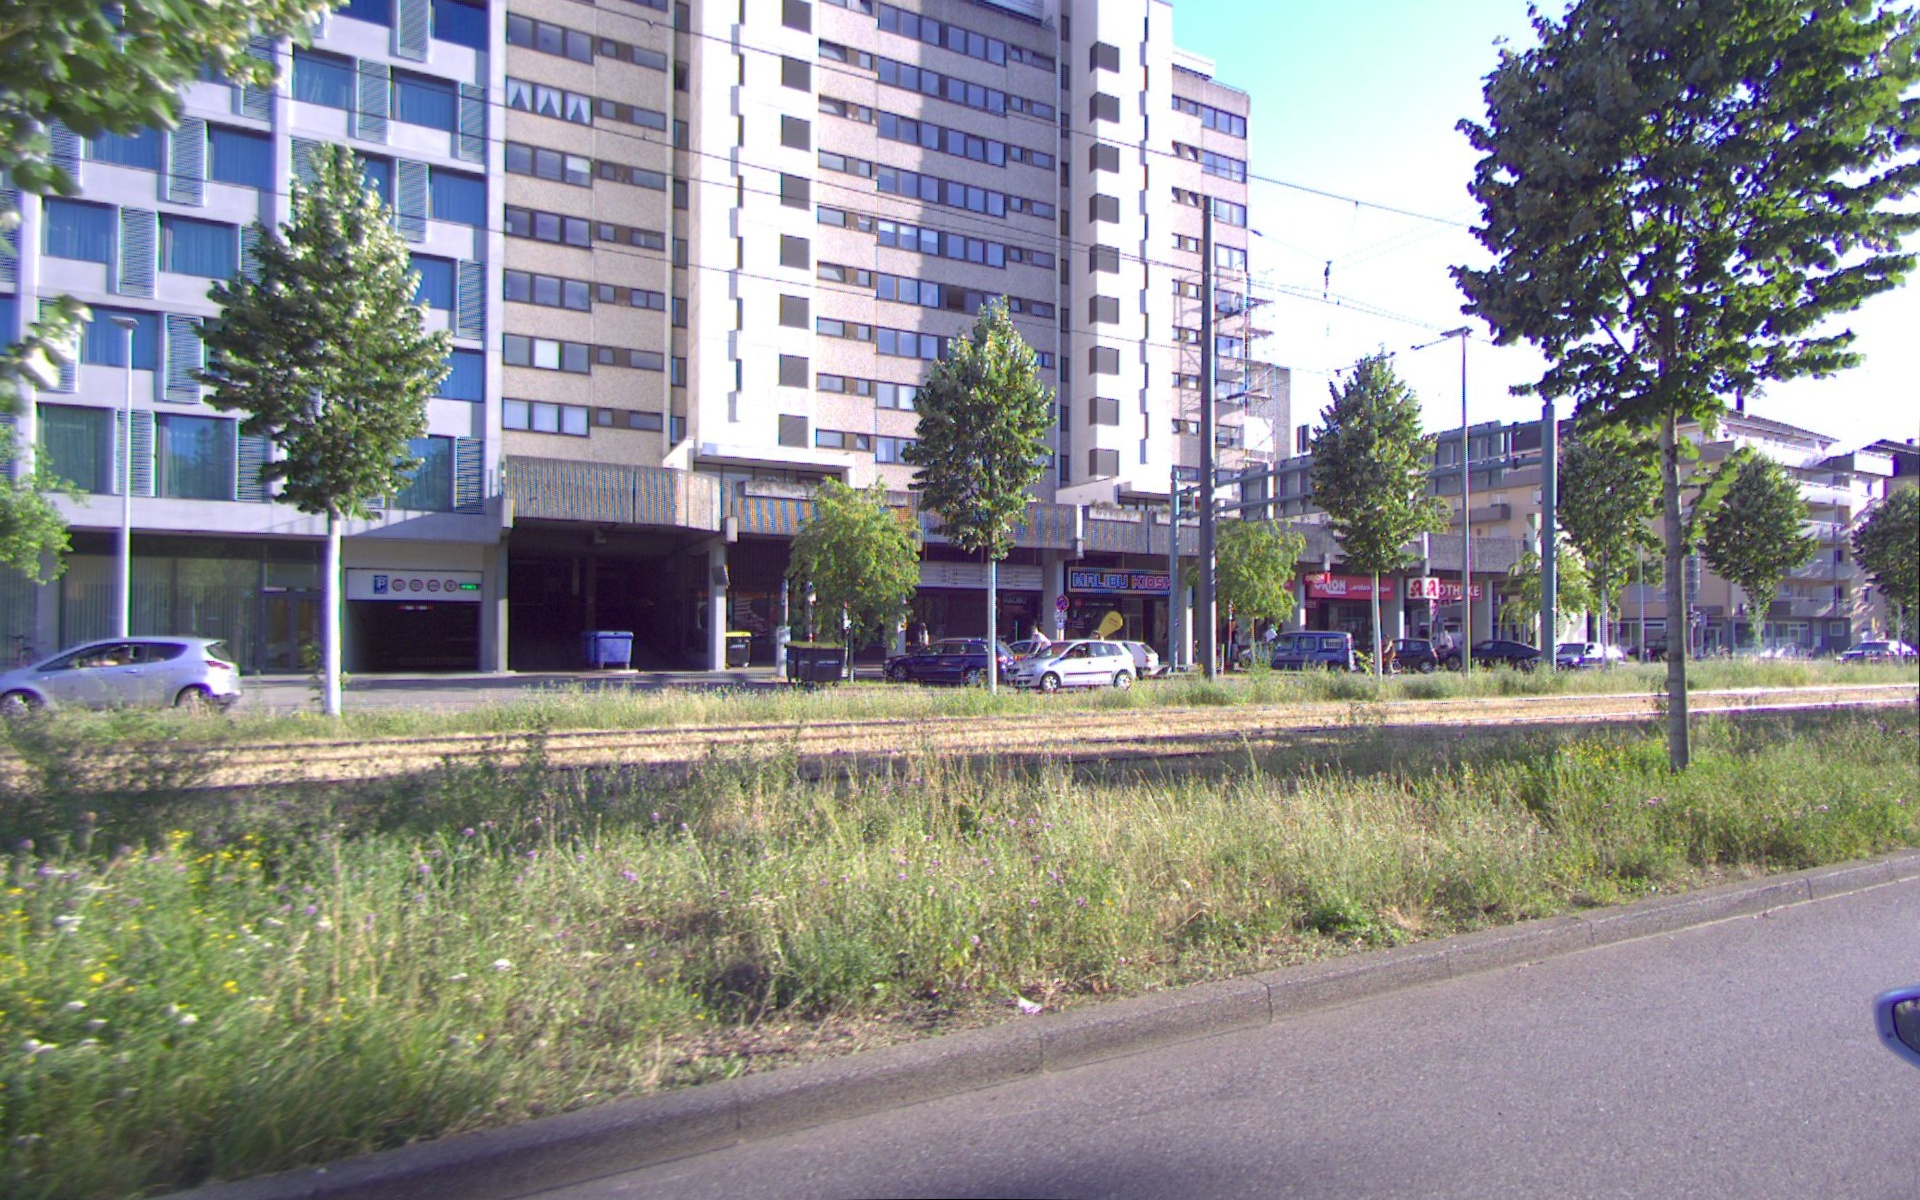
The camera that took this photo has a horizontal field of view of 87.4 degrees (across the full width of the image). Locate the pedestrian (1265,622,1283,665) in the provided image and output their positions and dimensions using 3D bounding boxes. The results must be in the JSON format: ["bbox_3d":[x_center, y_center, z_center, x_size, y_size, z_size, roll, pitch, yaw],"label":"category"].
[{"bbox_3d":[15.222,2.110,48.731,0.646,2.040,0.545,1,-2,-27],"label":"pedestrian"}]

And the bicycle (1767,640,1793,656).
[{"bbox_3d":[61.656,3.621,75.520,2.553,1.152,0.528,1,-1,-28],"label":"bicycle"}]

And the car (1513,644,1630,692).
[{"bbox_3d":[24.010,2.653,39.420,4.431,1.725,1.863,2,0,-27],"label":"car"}]

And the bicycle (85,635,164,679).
[{"bbox_3d":[-23.973,1.625,28.852,1.704,1.246,0.390,2,-2,-37],"label":"bicycle"}]

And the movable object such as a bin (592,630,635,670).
[{"bbox_3d":[-12.170,1.748,35.289,1.218,1.351,1.381,1,-2,-28],"label":"movable object such as a bin"}]

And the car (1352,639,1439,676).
[{"bbox_3d":[19.316,2.549,44.712,3.398,1.421,1.621,2,0,20],"label":"car"}]

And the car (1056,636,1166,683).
[{"bbox_3d":[5.515,2.151,36.676,3.718,1.464,1.621,2,0,20],"label":"car"}]

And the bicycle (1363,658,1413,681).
[{"bbox_3d":[16.686,2.707,39.129,2.071,0.874,0.435,1,-2,-21],"label":"bicycle"}]

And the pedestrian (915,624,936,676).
[{"bbox_3d":[-1.348,1.958,39.595,0.646,2.040,0.545,1,-2,-27],"label":"pedestrian"}]

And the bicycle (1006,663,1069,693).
[{"bbox_3d":[2.438,2.423,31.381,2.077,0.874,0.434,1,-2,-29],"label":"bicycle"}]

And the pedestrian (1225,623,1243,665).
[{"bbox_3d":[13.399,2.127,49.180,0.646,2.040,0.545,1,-2,-27],"label":"pedestrian"}]

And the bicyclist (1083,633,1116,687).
[{"bbox_3d":[4.380,1.869,31.585,0.908,1.678,0.535,1,-2,-29],"label":"bicyclist"}]

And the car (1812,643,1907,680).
[{"bbox_3d":[43.038,2.909,48.051,4.579,1.609,1.863,2,0,-27],"label":"car"}]

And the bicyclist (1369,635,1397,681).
[{"bbox_3d":[16.429,2.238,38.981,0.908,1.768,0.555,1,-2,-29],"label":"bicyclist"}]

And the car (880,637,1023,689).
[{"bbox_3d":[-0.283,2.055,33.540,4.457,1.464,1.621,2,0,20],"label":"car"}]

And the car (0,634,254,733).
[{"bbox_3d":[-15.435,1.502,18.727,3.438,1.612,1.863,2,0,-27],"label":"car"}]

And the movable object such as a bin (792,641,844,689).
[{"bbox_3d":[-4.341,1.958,30.653,1.156,1.389,1.381,1,-2,-28],"label":"movable object such as a bin"}]

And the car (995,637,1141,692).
[{"bbox_3d":[3.044,1.781,28.208,3.829,1.396,1.603,2,0,-27],"label":"car"}]

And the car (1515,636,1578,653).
[{"bbox_3d":[46.618,3.529,79.888,1.974,1.321,3.973,1,-2,-26],"label":"car"}]

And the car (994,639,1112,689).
[{"bbox_3d":[3.254,2.187,34.941,3.726,1.464,1.790,2,0,18],"label":"car"}]

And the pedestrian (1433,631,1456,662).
[{"bbox_3d":[25.863,2.466,53.598,0.871,1.661,0.771,1,-2,-28],"label":"pedestrian"}]

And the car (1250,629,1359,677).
[{"bbox_3d":[14.125,2.147,41.194,4.116,1.713,1.620,2,0,23],"label":"car"}]

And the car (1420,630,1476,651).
[{"bbox_3d":[42.305,3.477,87.168,1.974,1.766,3.973,1,-2,-26],"label":"car"}]

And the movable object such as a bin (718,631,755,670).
[{"bbox_3d":[-8.236,1.849,37.071,1.077,1.389,1.114,1,-2,-28],"label":"movable object such as a bin"}]

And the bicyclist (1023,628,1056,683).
[{"bbox_3d":[2.489,1.721,31.427,0.908,1.678,0.535,1,-2,-29],"label":"bicyclist"}]

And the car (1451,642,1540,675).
[{"bbox_3d":[24.566,2.685,46.188,3.398,1.291,1.621,2,0,20],"label":"car"}]
